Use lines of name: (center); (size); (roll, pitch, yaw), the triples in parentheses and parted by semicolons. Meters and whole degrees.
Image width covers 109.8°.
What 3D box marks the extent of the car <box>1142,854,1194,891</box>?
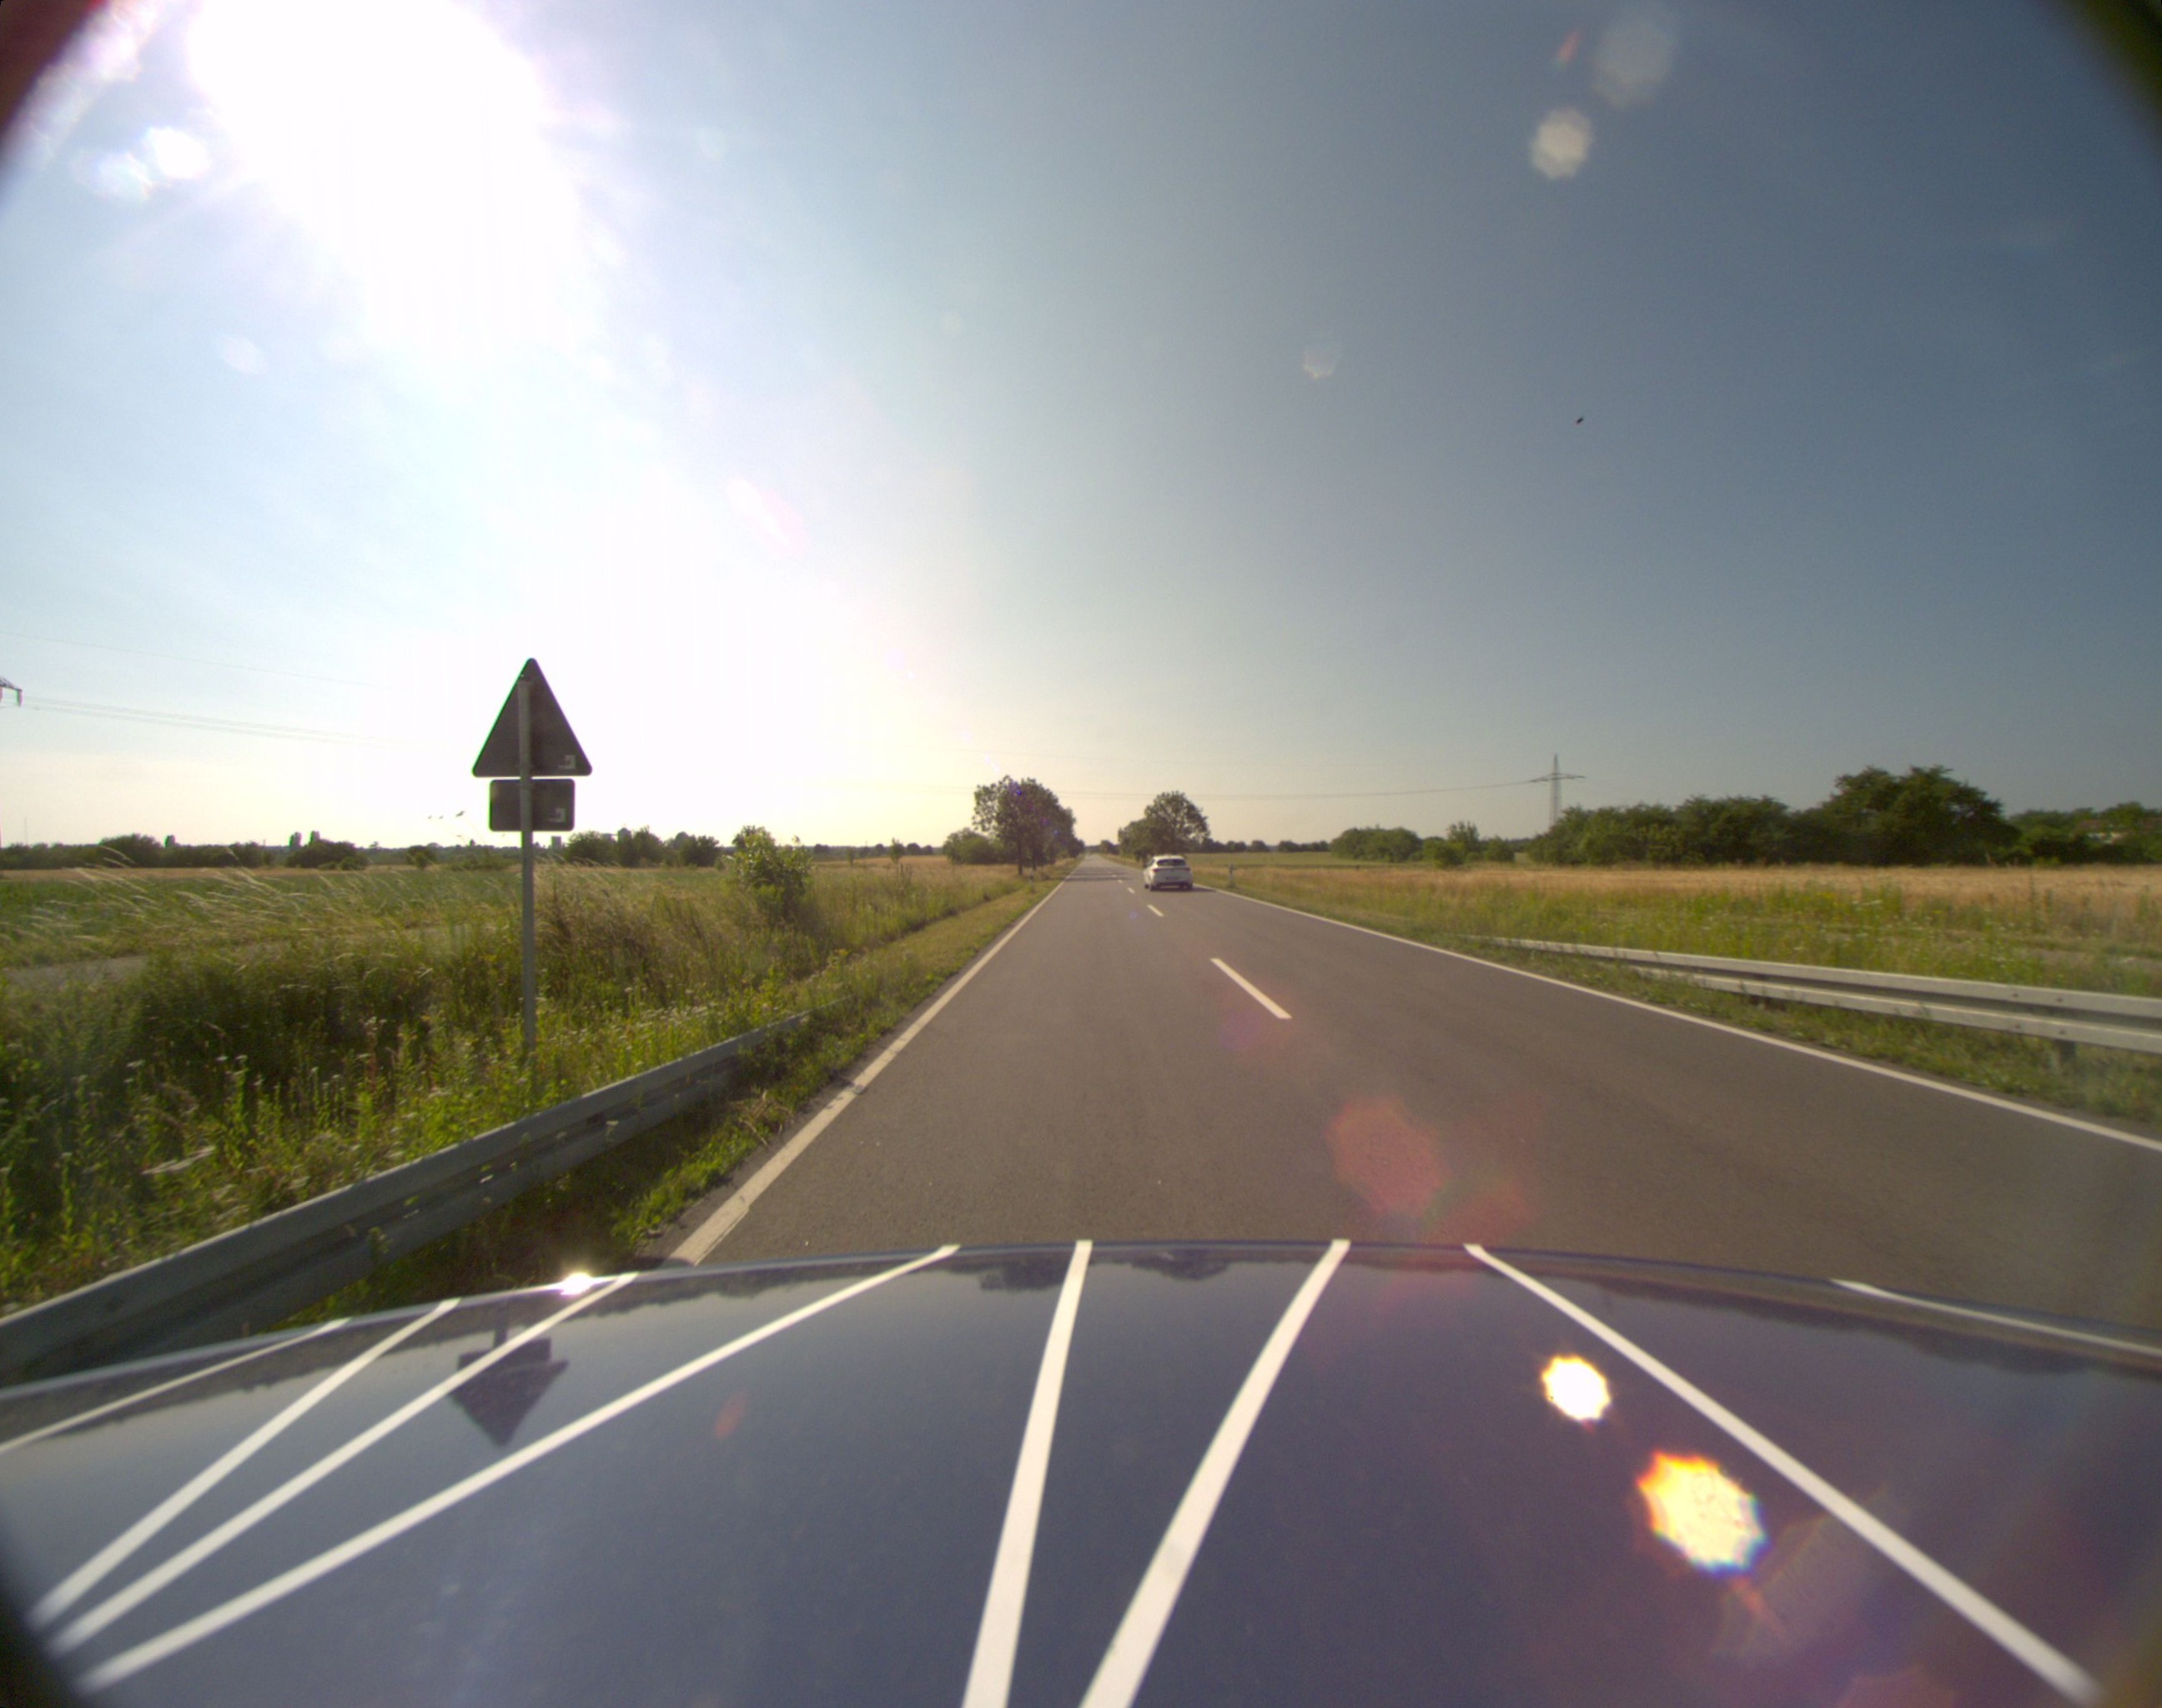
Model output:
car: (3.674, 0.736, 32.751); (1.731, 1.429, 4.516); (-1, 1, 0)
